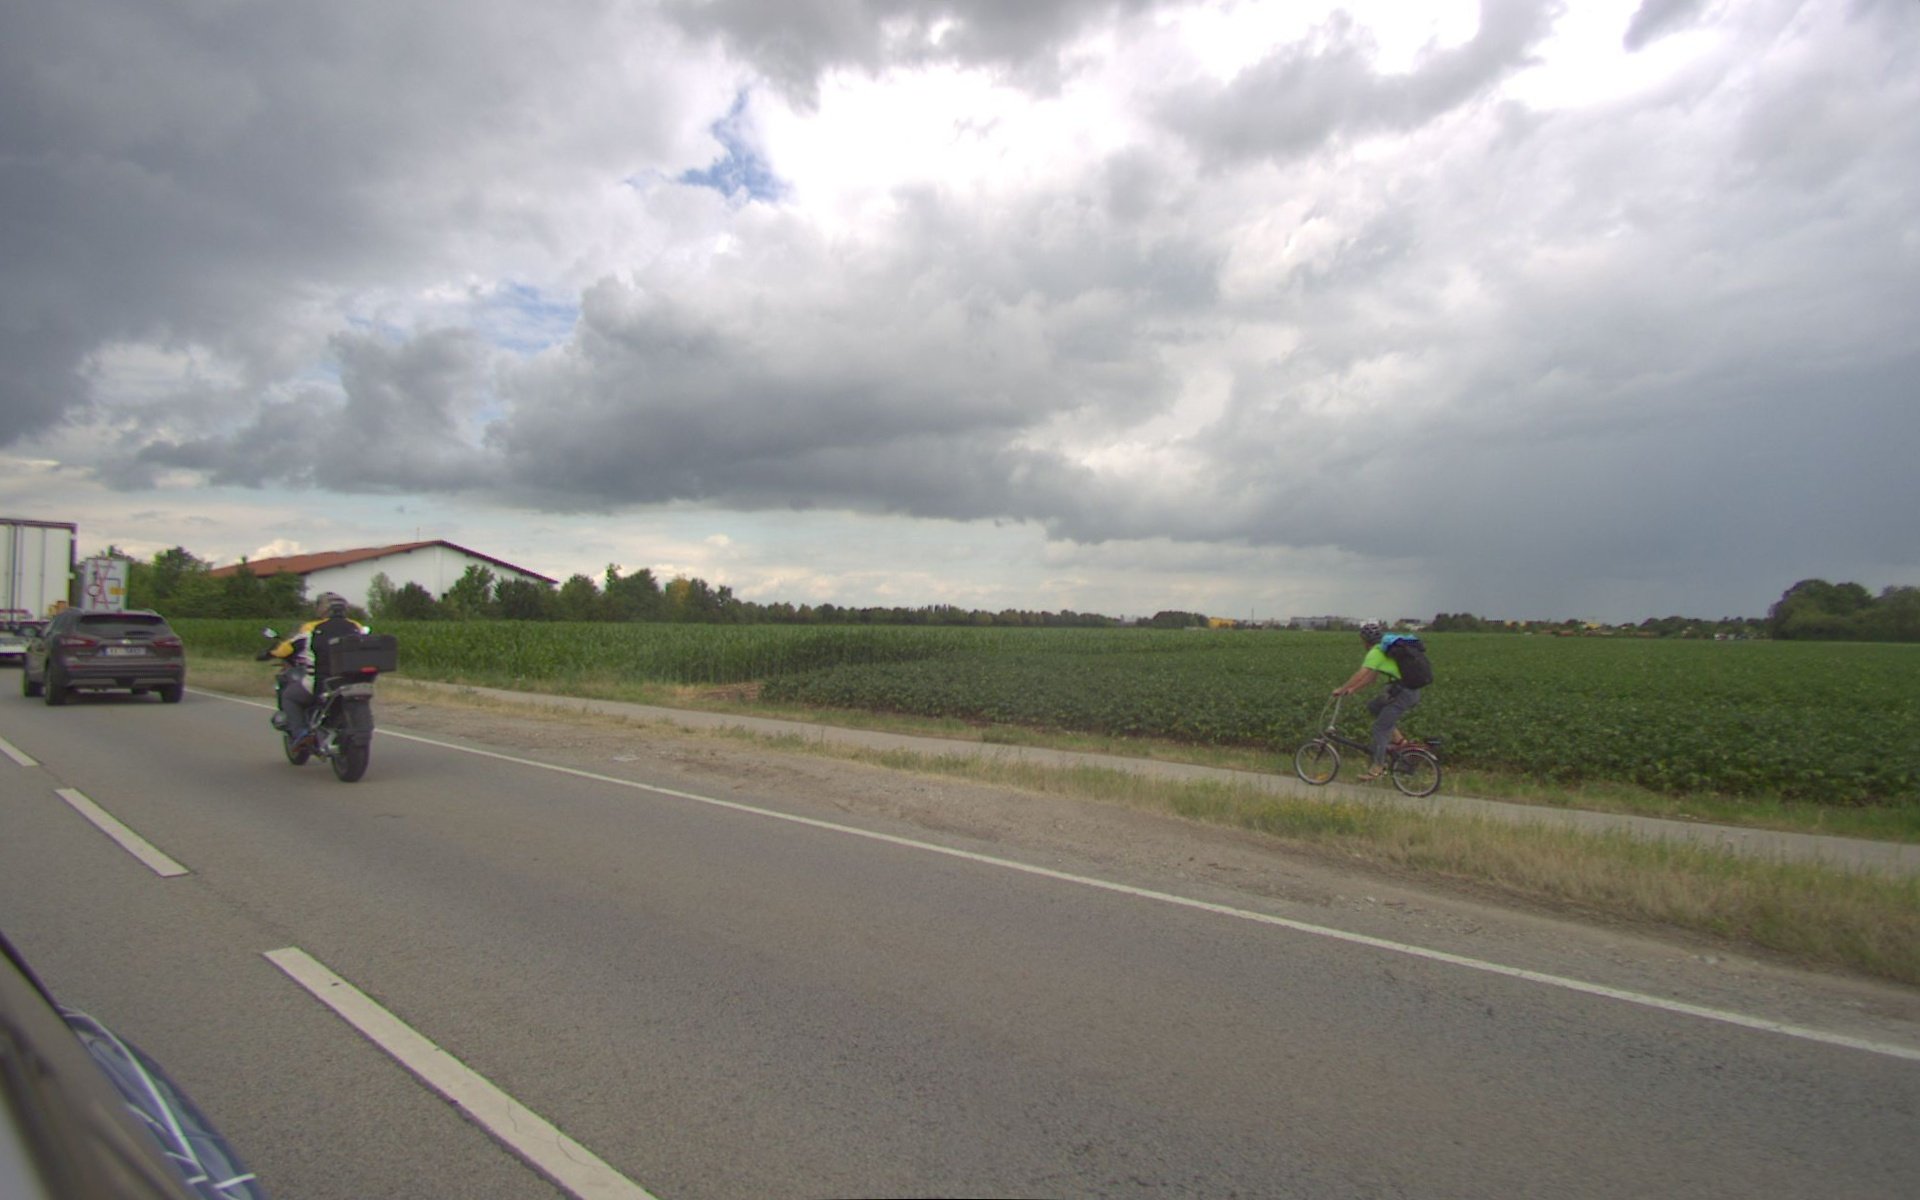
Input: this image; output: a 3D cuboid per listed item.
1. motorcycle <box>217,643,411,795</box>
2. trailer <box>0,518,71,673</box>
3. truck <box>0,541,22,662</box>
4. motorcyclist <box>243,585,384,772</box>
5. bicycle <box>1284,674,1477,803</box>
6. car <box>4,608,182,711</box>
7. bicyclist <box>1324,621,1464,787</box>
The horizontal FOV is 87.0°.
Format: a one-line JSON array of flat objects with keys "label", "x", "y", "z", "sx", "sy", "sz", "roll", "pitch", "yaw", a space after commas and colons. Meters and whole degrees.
[{"label": "motorcycle", "x": -6.020, "y": 1.008, "z": 9.346, "sx": 2.619, "sy": 1.167, "sz": 0.789, "roll": -1, "pitch": -2, "yaw": 41}, {"label": "trailer", "x": -30.795, "y": -0.070, "z": 31.712, "sx": 13.761, "sy": 4.152, "sz": 2.606, "roll": -1, "pitch": -2, "yaw": 41}, {"label": "truck", "x": -35.762, "y": 0.039, "z": 36.133, "sx": 6.020, "sy": 4.152, "sz": 2.624, "roll": -1, "pitch": -2, "yaw": 41}, {"label": "motorcyclist", "x": -5.915, "y": 0.678, "z": 9.253, "sx": 1.077, "sy": 1.585, "sz": 0.789, "roll": -1, "pitch": -2, "yaw": 41}, {"label": "bicycle", "x": 4.349, "y": 1.390, "z": 10.549, "sx": 1.793, "sy": 1.164, "sz": 0.523, "roll": -1, "pitch": -4, "yaw": 41}, {"label": "car", "x": -15.352, "y": 0.970, "z": 17.832, "sx": 4.502, "sy": 1.598, "sz": 1.711, "roll": -1, "pitch": -3, "yaw": 41}, {"label": "bicyclist", "x": 4.475, "y": 1.033, "z": 10.459, "sx": 1.222, "sy": 1.596, "sz": 0.523, "roll": -1, "pitch": -4, "yaw": 41}]
